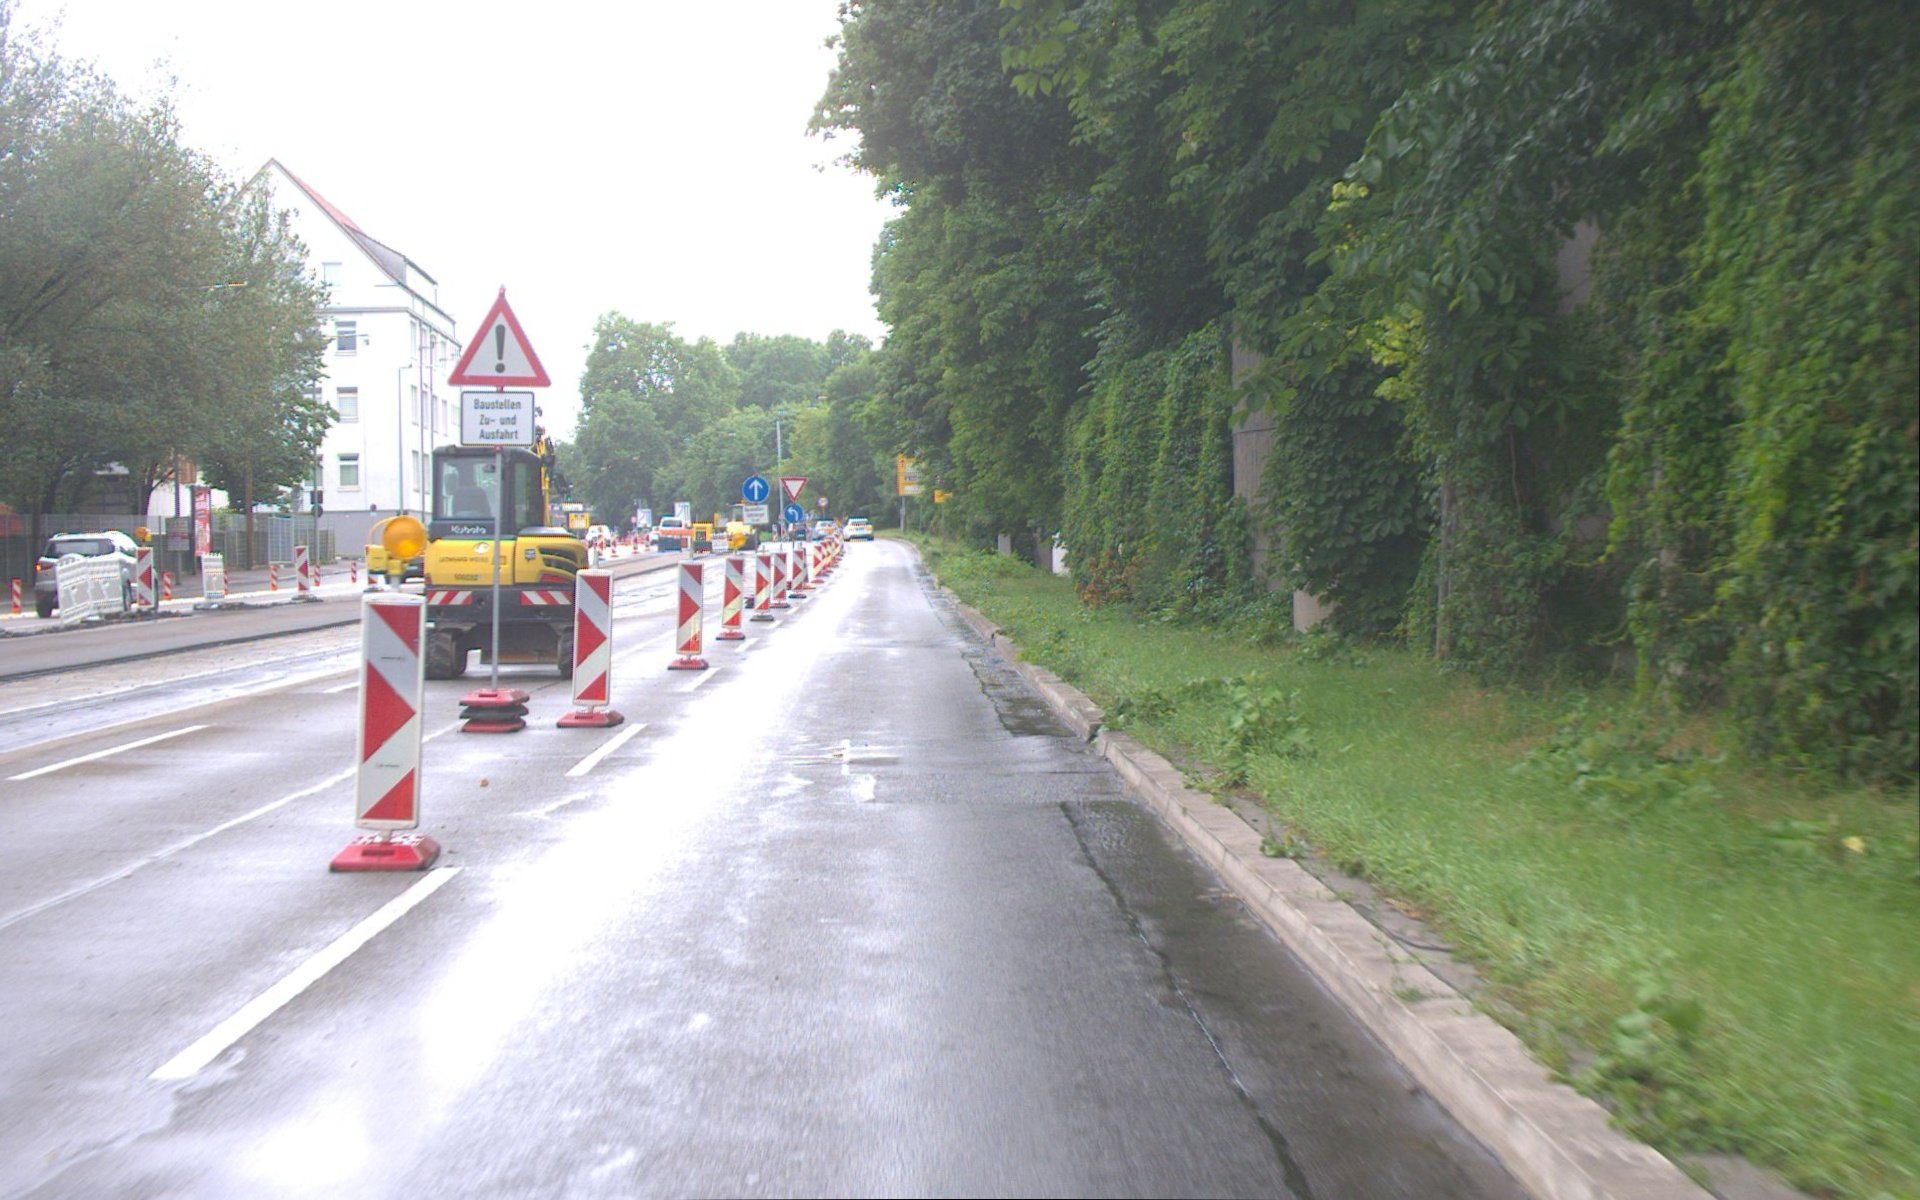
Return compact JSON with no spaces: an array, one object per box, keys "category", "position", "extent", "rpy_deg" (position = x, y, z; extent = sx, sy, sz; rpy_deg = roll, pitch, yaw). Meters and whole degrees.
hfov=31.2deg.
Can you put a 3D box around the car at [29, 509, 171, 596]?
[{"category":"car","position":[-16.825,-0.940,67.414],"extent":[1.854,1.642,4.000],"rpy_deg":[0,1,-1]}]

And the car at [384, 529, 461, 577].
[{"category":"car","position":[-17.603,-1.546,112.669],"extent":[1.993,1.514,4.000],"rpy_deg":[0,1,-1]}]

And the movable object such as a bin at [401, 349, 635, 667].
[{"category":"movable object such as a bin","position":[-4.960,-1.019,39.369],"extent":[1.993,3.356,5.983],"rpy_deg":[0,1,-1]}]

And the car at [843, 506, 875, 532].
[{"category":"car","position":[-6.583,-5.250,224.097],"extent":[1.993,1.667,4.000],"rpy_deg":[0,1,-1]}]
